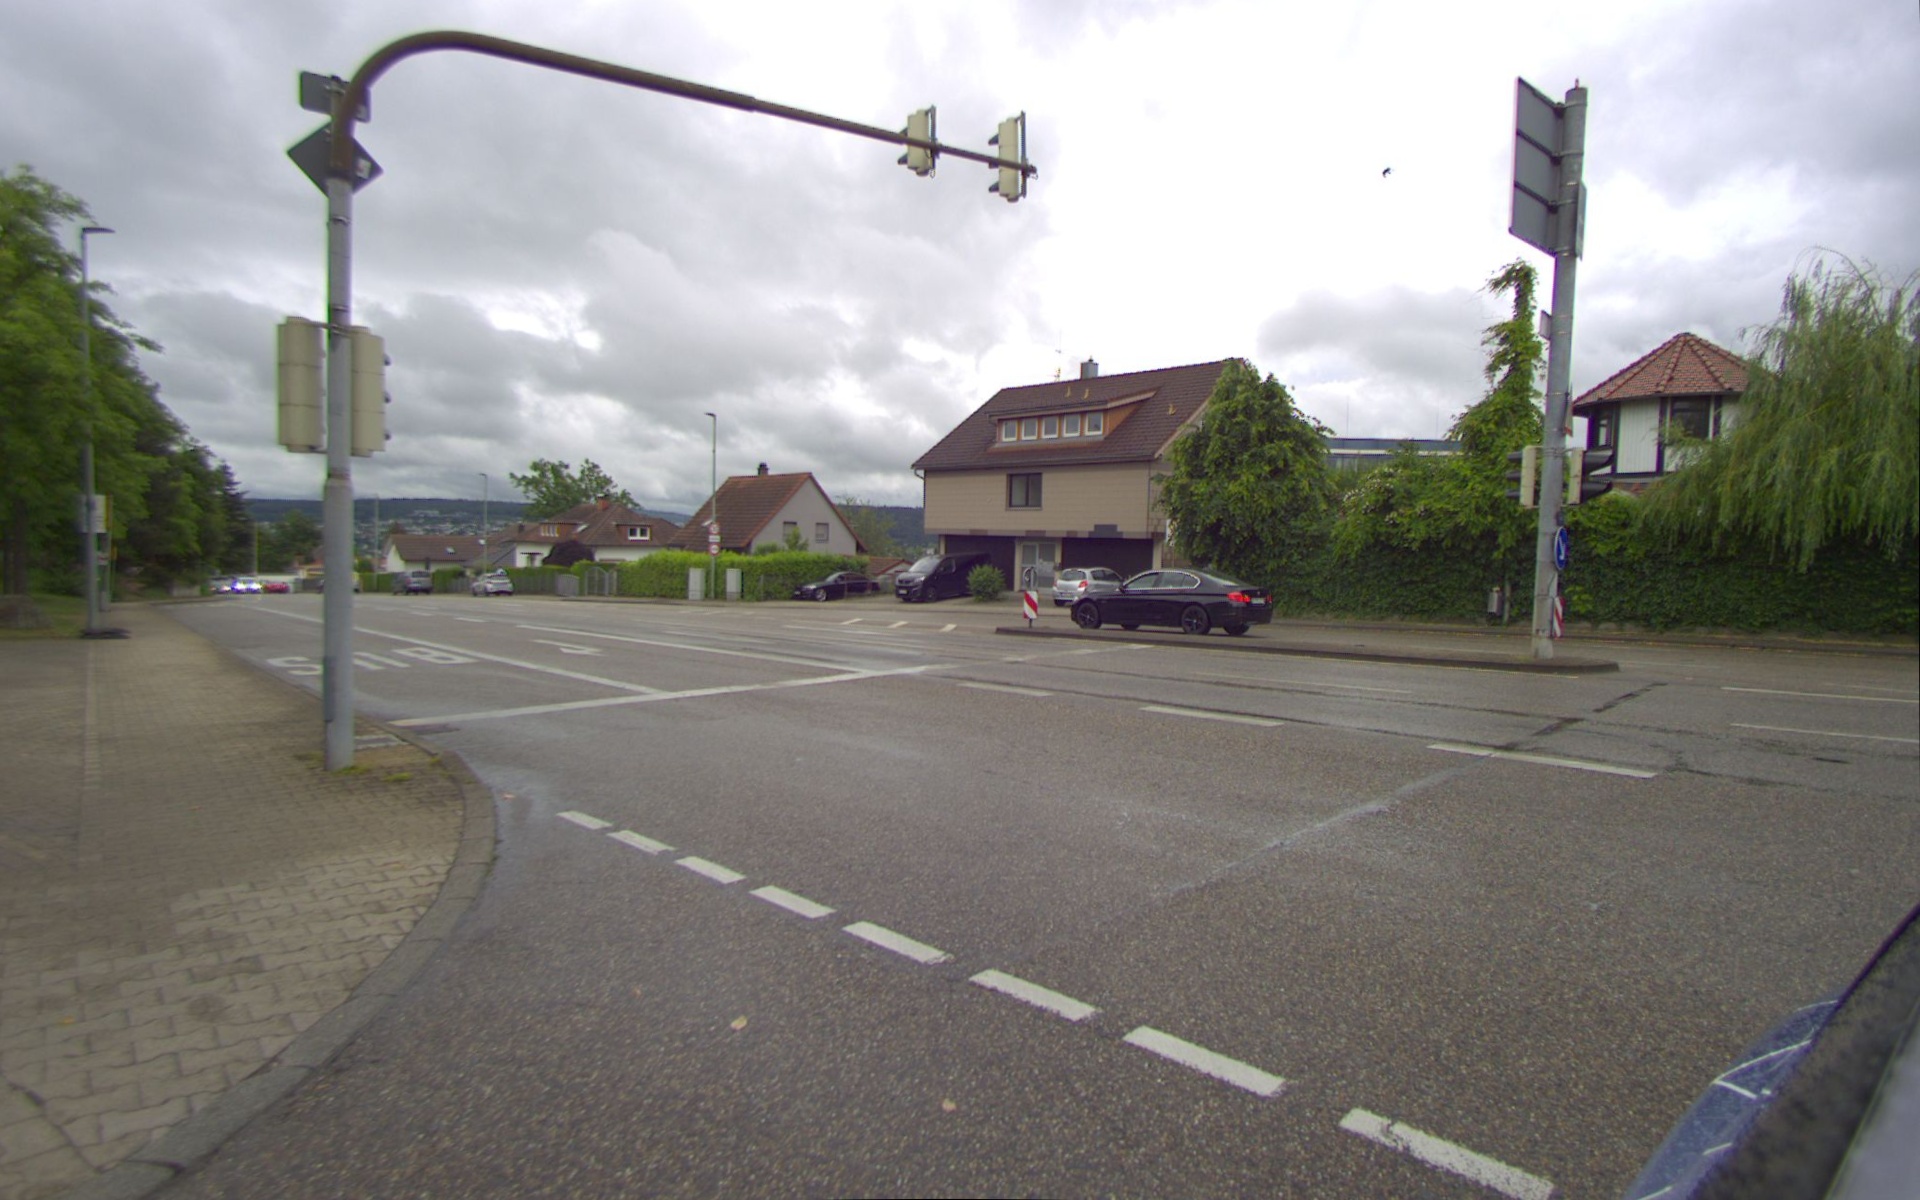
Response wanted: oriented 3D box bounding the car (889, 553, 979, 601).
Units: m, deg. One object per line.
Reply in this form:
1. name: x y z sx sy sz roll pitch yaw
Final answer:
1. car: -1.089 -1.045 43.501 3.517 1.668 1.767 -8 9 -43

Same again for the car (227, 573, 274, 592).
1. car: -74.128 -1.858 105.806 3.928 1.860 1.998 -1 2 -39

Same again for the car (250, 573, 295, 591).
1. car: -74.727 -1.960 110.059 3.928 1.860 1.998 -1 2 -39

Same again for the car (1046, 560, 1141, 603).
1. car: 5.121 -0.737 38.634 3.514 1.472 1.767 -4 3 -43

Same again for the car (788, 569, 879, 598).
1. car: -5.889 -0.794 47.386 3.988 1.077 1.696 -5 5 -43

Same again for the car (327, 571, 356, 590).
1. car: -60.540 -1.920 98.962 1.964 1.860 3.997 -1 2 -38

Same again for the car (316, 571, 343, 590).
1. car: -64.629 -2.009 103.684 1.964 1.860 3.997 -1 2 -38

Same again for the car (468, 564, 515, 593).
1. car: -31.105 -1.452 67.130 1.964 1.860 3.997 -1 2 -38

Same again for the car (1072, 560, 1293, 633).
1. car: 4.886 -0.139 22.771 1.966 1.470 4.595 -1 2 -42

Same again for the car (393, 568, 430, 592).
1. car: -43.722 -1.583 80.625 1.964 1.860 3.997 -1 2 -38
